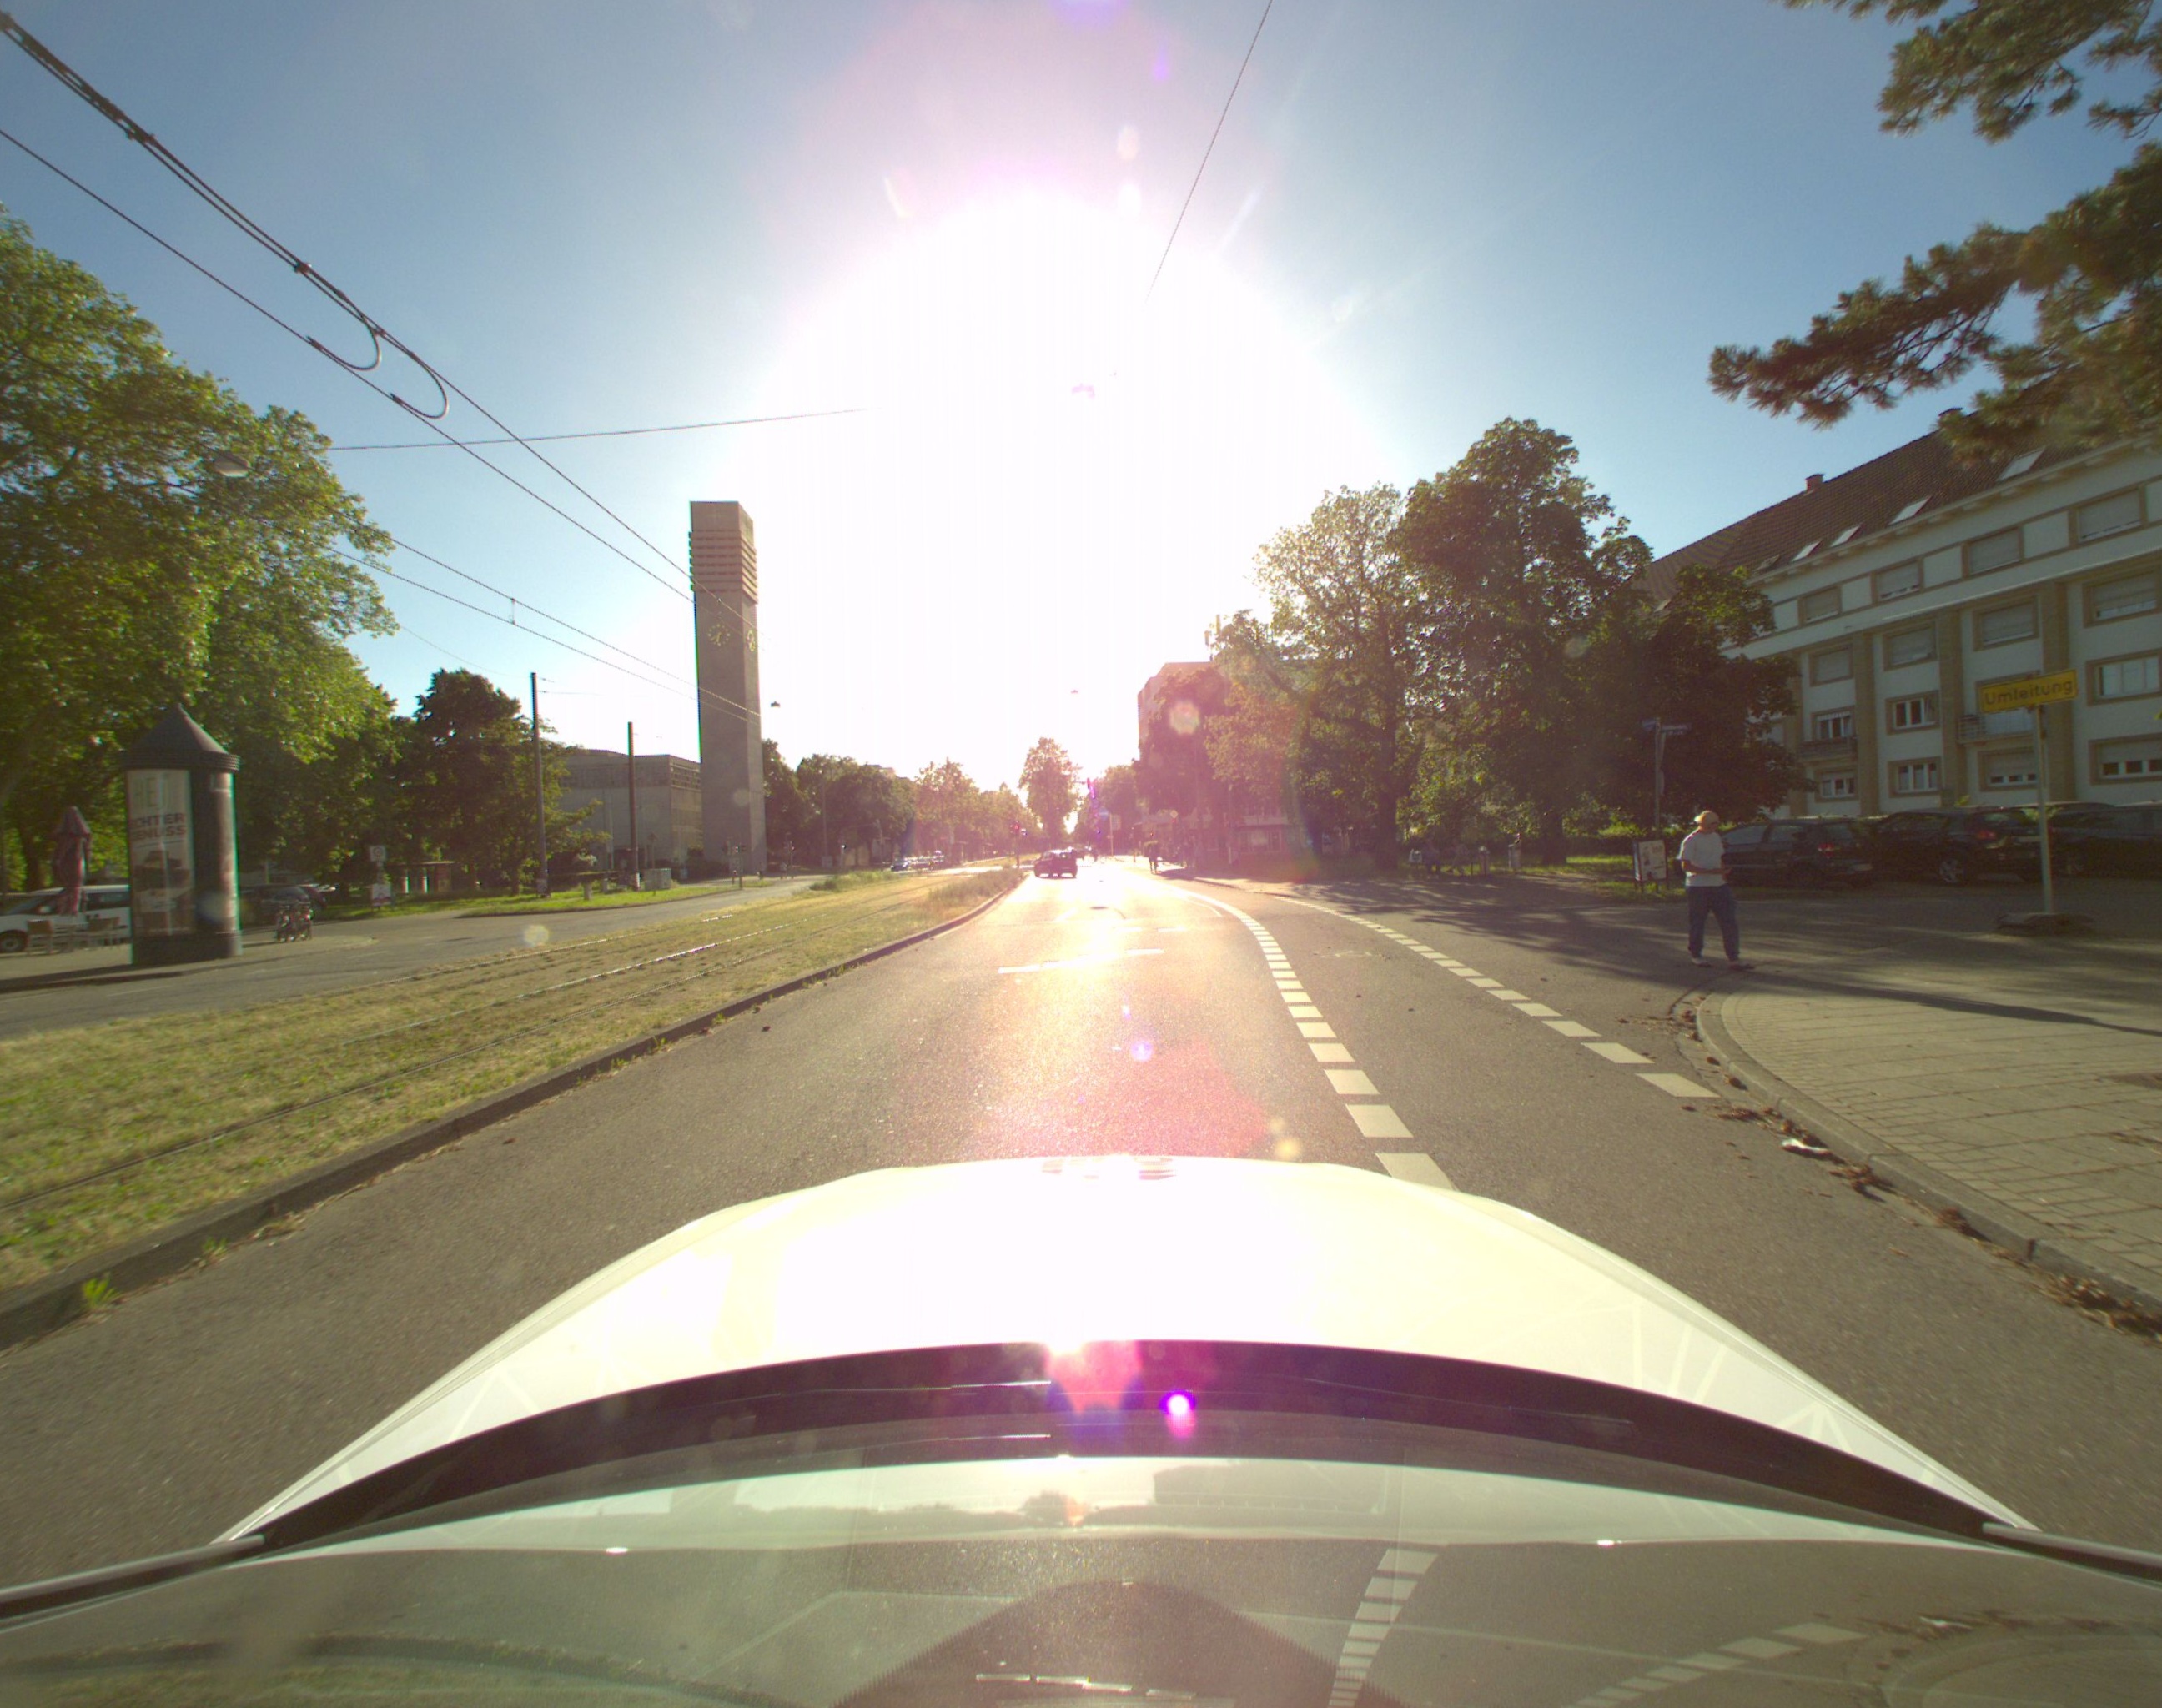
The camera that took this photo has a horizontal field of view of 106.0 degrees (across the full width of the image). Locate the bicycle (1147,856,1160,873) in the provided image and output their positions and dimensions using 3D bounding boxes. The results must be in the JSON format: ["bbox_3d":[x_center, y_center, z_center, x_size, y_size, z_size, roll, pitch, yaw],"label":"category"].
[{"bbox_3d":[4.274,0.618,48.215,0.645,0.972,1.804,0,0,1],"label":"bicycle"}]

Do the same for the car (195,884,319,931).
[{"bbox_3d":[-32.893,2.129,32.542,3.956,1.601,1.757,-2,1,17],"label":"car"}]

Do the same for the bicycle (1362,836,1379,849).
[{"bbox_3d":[22.931,-0.882,64.593,0.595,1.034,1.989,0,0,-2],"label":"bicycle"}]

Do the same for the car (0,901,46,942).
[{"bbox_3d":[-48.683,3.052,36.304,3.956,1.683,1.757,-2,1,17],"label":"car"}]

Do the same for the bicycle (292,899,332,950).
[{"bbox_3d":[-21.146,1.916,22.423,0.522,1.252,2.067,0,-1,-35],"label":"bicycle"}]

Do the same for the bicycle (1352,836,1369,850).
[{"bbox_3d":[22.269,-0.875,64.951,0.595,1.034,2.005,0,0,-2],"label":"bicycle"}]

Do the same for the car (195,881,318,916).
[{"bbox_3d":[-38.073,2.020,37.722,1.628,1.380,3.664,0,1,16],"label":"car"}]

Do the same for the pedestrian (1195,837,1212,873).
[{"bbox_3d":[6.275,0.045,41.753,0.700,1.789,0.695,-5,1,4],"label":"pedestrian"}]

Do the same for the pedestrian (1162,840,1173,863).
[{"bbox_3d":[6.374,-0.187,59.903,0.725,1.682,0.534,0,0,11],"label":"pedestrian"}]

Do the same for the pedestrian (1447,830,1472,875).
[{"bbox_3d":[11.654,-0.050,25.057,0.678,1.373,0.759,0,0,25],"label":"pedestrian"}]

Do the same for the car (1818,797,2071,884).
[{"bbox_3d":[18.257,-0.293,17.505,1.446,1.572,3.811,-4,1,2],"label":"car"}]

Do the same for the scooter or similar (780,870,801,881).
[{"bbox_3d":[-27.367,2.009,76.704,1.739,0.899,0.560,-3,0,-17],"label":"scooter or similar"}]

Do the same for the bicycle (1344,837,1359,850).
[{"bbox_3d":[21.581,-0.847,65.015,0.595,1.034,1.794,0,0,-2],"label":"bicycle"}]

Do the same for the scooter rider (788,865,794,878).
[{"bbox_3d":[-27.331,1.676,76.717,0.526,1.218,0.584,0,0,-16],"label":"scooter rider"}]

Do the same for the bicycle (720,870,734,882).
[{"bbox_3d":[-34.209,2.110,78.727,0.488,1.045,1.686,0,0,6],"label":"bicycle"}]

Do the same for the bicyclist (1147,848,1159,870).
[{"bbox_3d":[4.267,0.282,48.281,0.635,1.323,0.803,0,0,1],"label":"bicyclist"}]

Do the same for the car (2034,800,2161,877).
[{"bbox_3d":[21.292,-0.325,15.279,1.634,1.440,4.231,-4,1,-7],"label":"car"}]

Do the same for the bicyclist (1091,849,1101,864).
[{"bbox_3d":[1.610,0.278,85.363,0.763,1.471,0.902,-3,1,15],"label":"bicyclist"}]

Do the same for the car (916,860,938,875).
[{"bbox_3d":[-17.818,1.543,94.210,1.682,1.533,4.359,-3,1,-1],"label":"car"}]

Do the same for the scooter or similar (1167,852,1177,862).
[{"bbox_3d":[6.623,0.235,59.287,0.596,0.737,0.681,0,0,-2],"label":"scooter or similar"}]

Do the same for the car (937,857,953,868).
[{"bbox_3d":[-17.444,1.064,104.573,1.561,1.402,3.913,0,0,-1],"label":"car"}]

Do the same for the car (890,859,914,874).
[{"bbox_3d":[-20.519,1.454,93.701,1.802,1.533,4.359,-3,1,-1],"label":"car"}]

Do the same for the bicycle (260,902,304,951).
[{"bbox_3d":[-21.488,1.918,21.921,0.522,1.184,2.067,0,-1,-35],"label":"bicycle"}]

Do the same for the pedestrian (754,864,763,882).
[{"bbox_3d":[-30.033,1.782,75.782,0.440,1.666,0.748,0,0,8],"label":"pedestrian"}]

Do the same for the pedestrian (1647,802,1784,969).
[{"bbox_3d":[6.936,0.330,8.942,0.876,1.722,0.726,-3,1,4],"label":"pedestrian"}]

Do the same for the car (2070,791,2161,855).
[{"bbox_3d":[27.037,-0.834,20.078,3.338,1.370,1.575,-6,0,-1],"label":"car"}]

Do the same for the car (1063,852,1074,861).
[{"bbox_3d":[-2.230,0.385,148.869,1.889,1.611,4.496,0,1,-3],"label":"car"}]

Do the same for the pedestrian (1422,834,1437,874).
[{"bbox_3d":[10.798,0.006,25.207,0.399,1.226,0.765,0,0,25],"label":"pedestrian"}]

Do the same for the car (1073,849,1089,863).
[{"bbox_3d":[-0.027,0.266,110.432,1.964,1.859,3.996,0,0,-3],"label":"car"}]

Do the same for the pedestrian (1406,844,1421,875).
[{"bbox_3d":[10.369,0.177,25.371,0.399,0.934,0.627,0,3,25],"label":"pedestrian"}]

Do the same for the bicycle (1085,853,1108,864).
[{"bbox_3d":[1.638,0.503,85.374,2.235,0.987,0.792,-2,5,13],"label":"bicycle"}]

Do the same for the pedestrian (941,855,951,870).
[{"bbox_3d":[-14.338,0.935,86.536,0.888,1.606,0.613,0,0,-2],"label":"pedestrian"}]

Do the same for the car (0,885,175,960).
[{"bbox_3d":[-29.506,1.903,23.481,1.980,1.827,4.014,0,0,13],"label":"car"}]

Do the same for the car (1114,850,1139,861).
[{"bbox_3d":[7.729,0.190,136.904,3.963,1.859,2.017,0,0,9],"label":"car"}]

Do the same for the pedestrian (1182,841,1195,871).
[{"bbox_3d":[5.522,0.104,41.955,0.527,1.528,0.628,-4,0,4],"label":"pedestrian"}]

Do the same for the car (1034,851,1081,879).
[{"bbox_3d":[-1.404,0.593,46.636,1.699,1.508,3.676,-1,1,-18],"label":"car"}]

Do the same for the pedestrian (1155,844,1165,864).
[{"bbox_3d":[5.809,-0.004,59.880,0.642,1.522,0.497,0,0,11],"label":"pedestrian"}]

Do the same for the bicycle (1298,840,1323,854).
[{"bbox_3d":[24.131,-0.720,85.484,2.464,1.399,0.607,0,0,-3],"label":"bicycle"}]

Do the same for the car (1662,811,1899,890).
[{"bbox_3d":[15.472,-0.076,18.292,1.637,1.494,3.792,-4,1,-13],"label":"car"}]

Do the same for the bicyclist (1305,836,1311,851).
[{"bbox_3d":[23.686,-1.071,84.874,0.526,1.567,0.463,0,0,-4],"label":"bicyclist"}]
